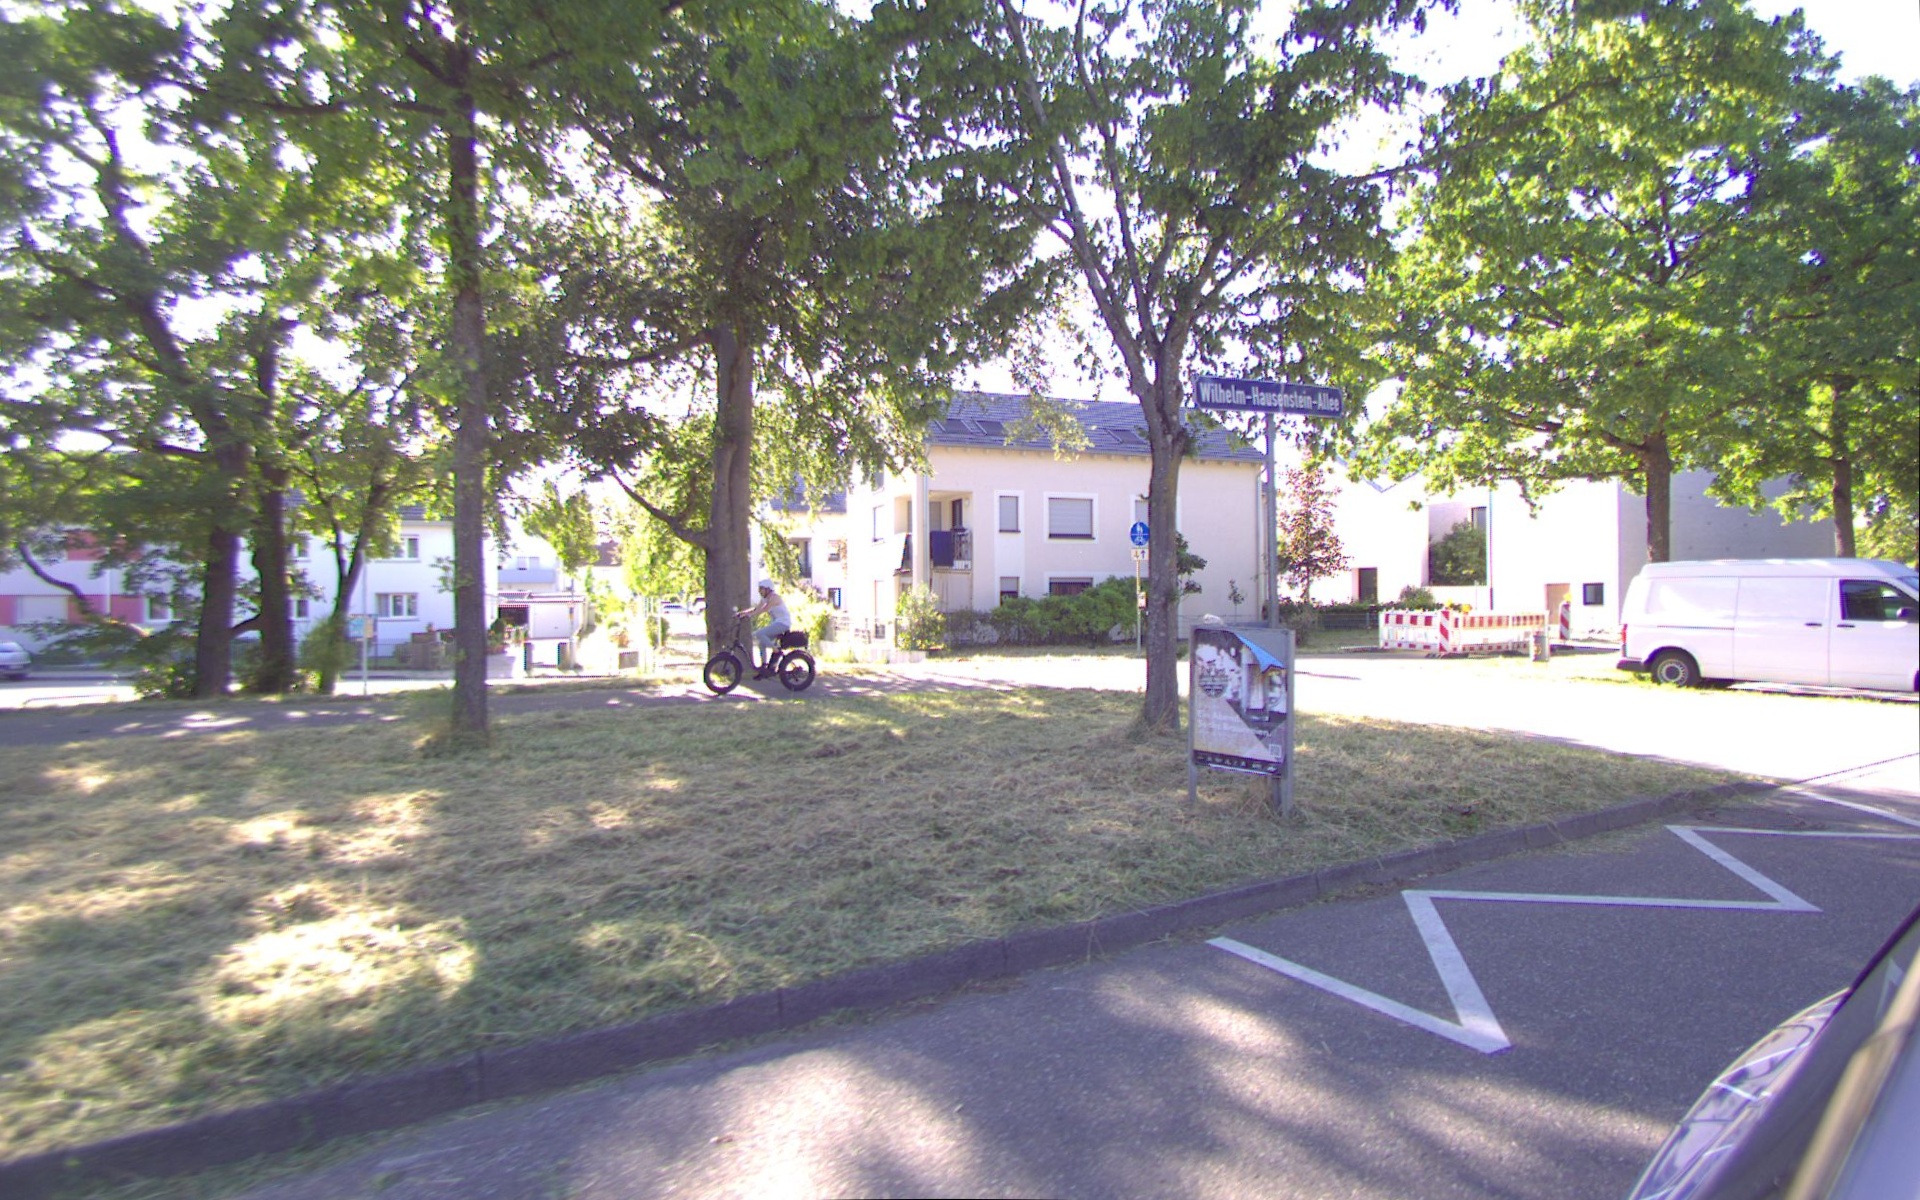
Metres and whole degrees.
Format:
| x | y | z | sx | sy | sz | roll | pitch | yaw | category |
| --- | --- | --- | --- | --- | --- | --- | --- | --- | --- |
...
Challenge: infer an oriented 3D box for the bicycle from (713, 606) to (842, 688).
| x | y | z | sx | sy | sz | roll | pitch | yaw | category |
| --- | --- | --- | --- | --- | --- | --- | --- | --- | --- |
| -2.751 | 0.681 | 15.280 | 1.794 | 1.165 | 0.678 | 0 | -1 | -30 | bicycle |

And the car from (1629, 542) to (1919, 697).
| x | y | z | sx | sy | sz | roll | pitch | yaw | category |
| --- | --- | --- | --- | --- | --- | --- | --- | --- | --- |
| 13.264 | 0.248 | 15.233 | 1.853 | 2.107 | 5.053 | 0 | 1 | -31 | car |

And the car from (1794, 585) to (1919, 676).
| x | y | z | sx | sy | sz | roll | pitch | yaw | category |
| --- | --- | --- | --- | --- | --- | --- | --- | --- | --- |
| 17.533 | 0.527 | 17.849 | 1.722 | 1.583 | 4.004 | 0 | -1 | -29 | car |

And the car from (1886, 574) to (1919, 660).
| x | y | z | sx | sy | sz | roll | pitch | yaw | category |
| --- | --- | --- | --- | --- | --- | --- | --- | --- | --- |
| 21.747 | 0.342 | 20.521 | 1.678 | 1.816 | 4.026 | 0 | -1 | -29 | car |

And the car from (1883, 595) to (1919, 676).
| x | y | z | sx | sy | sz | roll | pitch | yaw | category |
| --- | --- | --- | --- | --- | --- | --- | --- | --- | --- |
| 19.808 | 0.672 | 18.892 | 1.419 | 1.562 | 3.522 | 0 | -1 | -29 | car |

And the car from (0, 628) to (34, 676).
| x | y | z | sx | sy | sz | roll | pitch | yaw | category |
| --- | --- | --- | --- | --- | --- | --- | --- | --- | --- |
| -33.551 | 1.765 | 34.163 | 3.120 | 1.572 | 1.531 | -1 | -1 | -4 | car |

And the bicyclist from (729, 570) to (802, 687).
| x | y | z | sx | sy | sz | roll | pitch | yaw | category |
| --- | --- | --- | --- | --- | --- | --- | --- | --- | --- |
| -2.913 | 0.415 | 15.167 | 0.832 | 1.687 | 0.727 | -1 | -1 | -32 | bicyclist |
